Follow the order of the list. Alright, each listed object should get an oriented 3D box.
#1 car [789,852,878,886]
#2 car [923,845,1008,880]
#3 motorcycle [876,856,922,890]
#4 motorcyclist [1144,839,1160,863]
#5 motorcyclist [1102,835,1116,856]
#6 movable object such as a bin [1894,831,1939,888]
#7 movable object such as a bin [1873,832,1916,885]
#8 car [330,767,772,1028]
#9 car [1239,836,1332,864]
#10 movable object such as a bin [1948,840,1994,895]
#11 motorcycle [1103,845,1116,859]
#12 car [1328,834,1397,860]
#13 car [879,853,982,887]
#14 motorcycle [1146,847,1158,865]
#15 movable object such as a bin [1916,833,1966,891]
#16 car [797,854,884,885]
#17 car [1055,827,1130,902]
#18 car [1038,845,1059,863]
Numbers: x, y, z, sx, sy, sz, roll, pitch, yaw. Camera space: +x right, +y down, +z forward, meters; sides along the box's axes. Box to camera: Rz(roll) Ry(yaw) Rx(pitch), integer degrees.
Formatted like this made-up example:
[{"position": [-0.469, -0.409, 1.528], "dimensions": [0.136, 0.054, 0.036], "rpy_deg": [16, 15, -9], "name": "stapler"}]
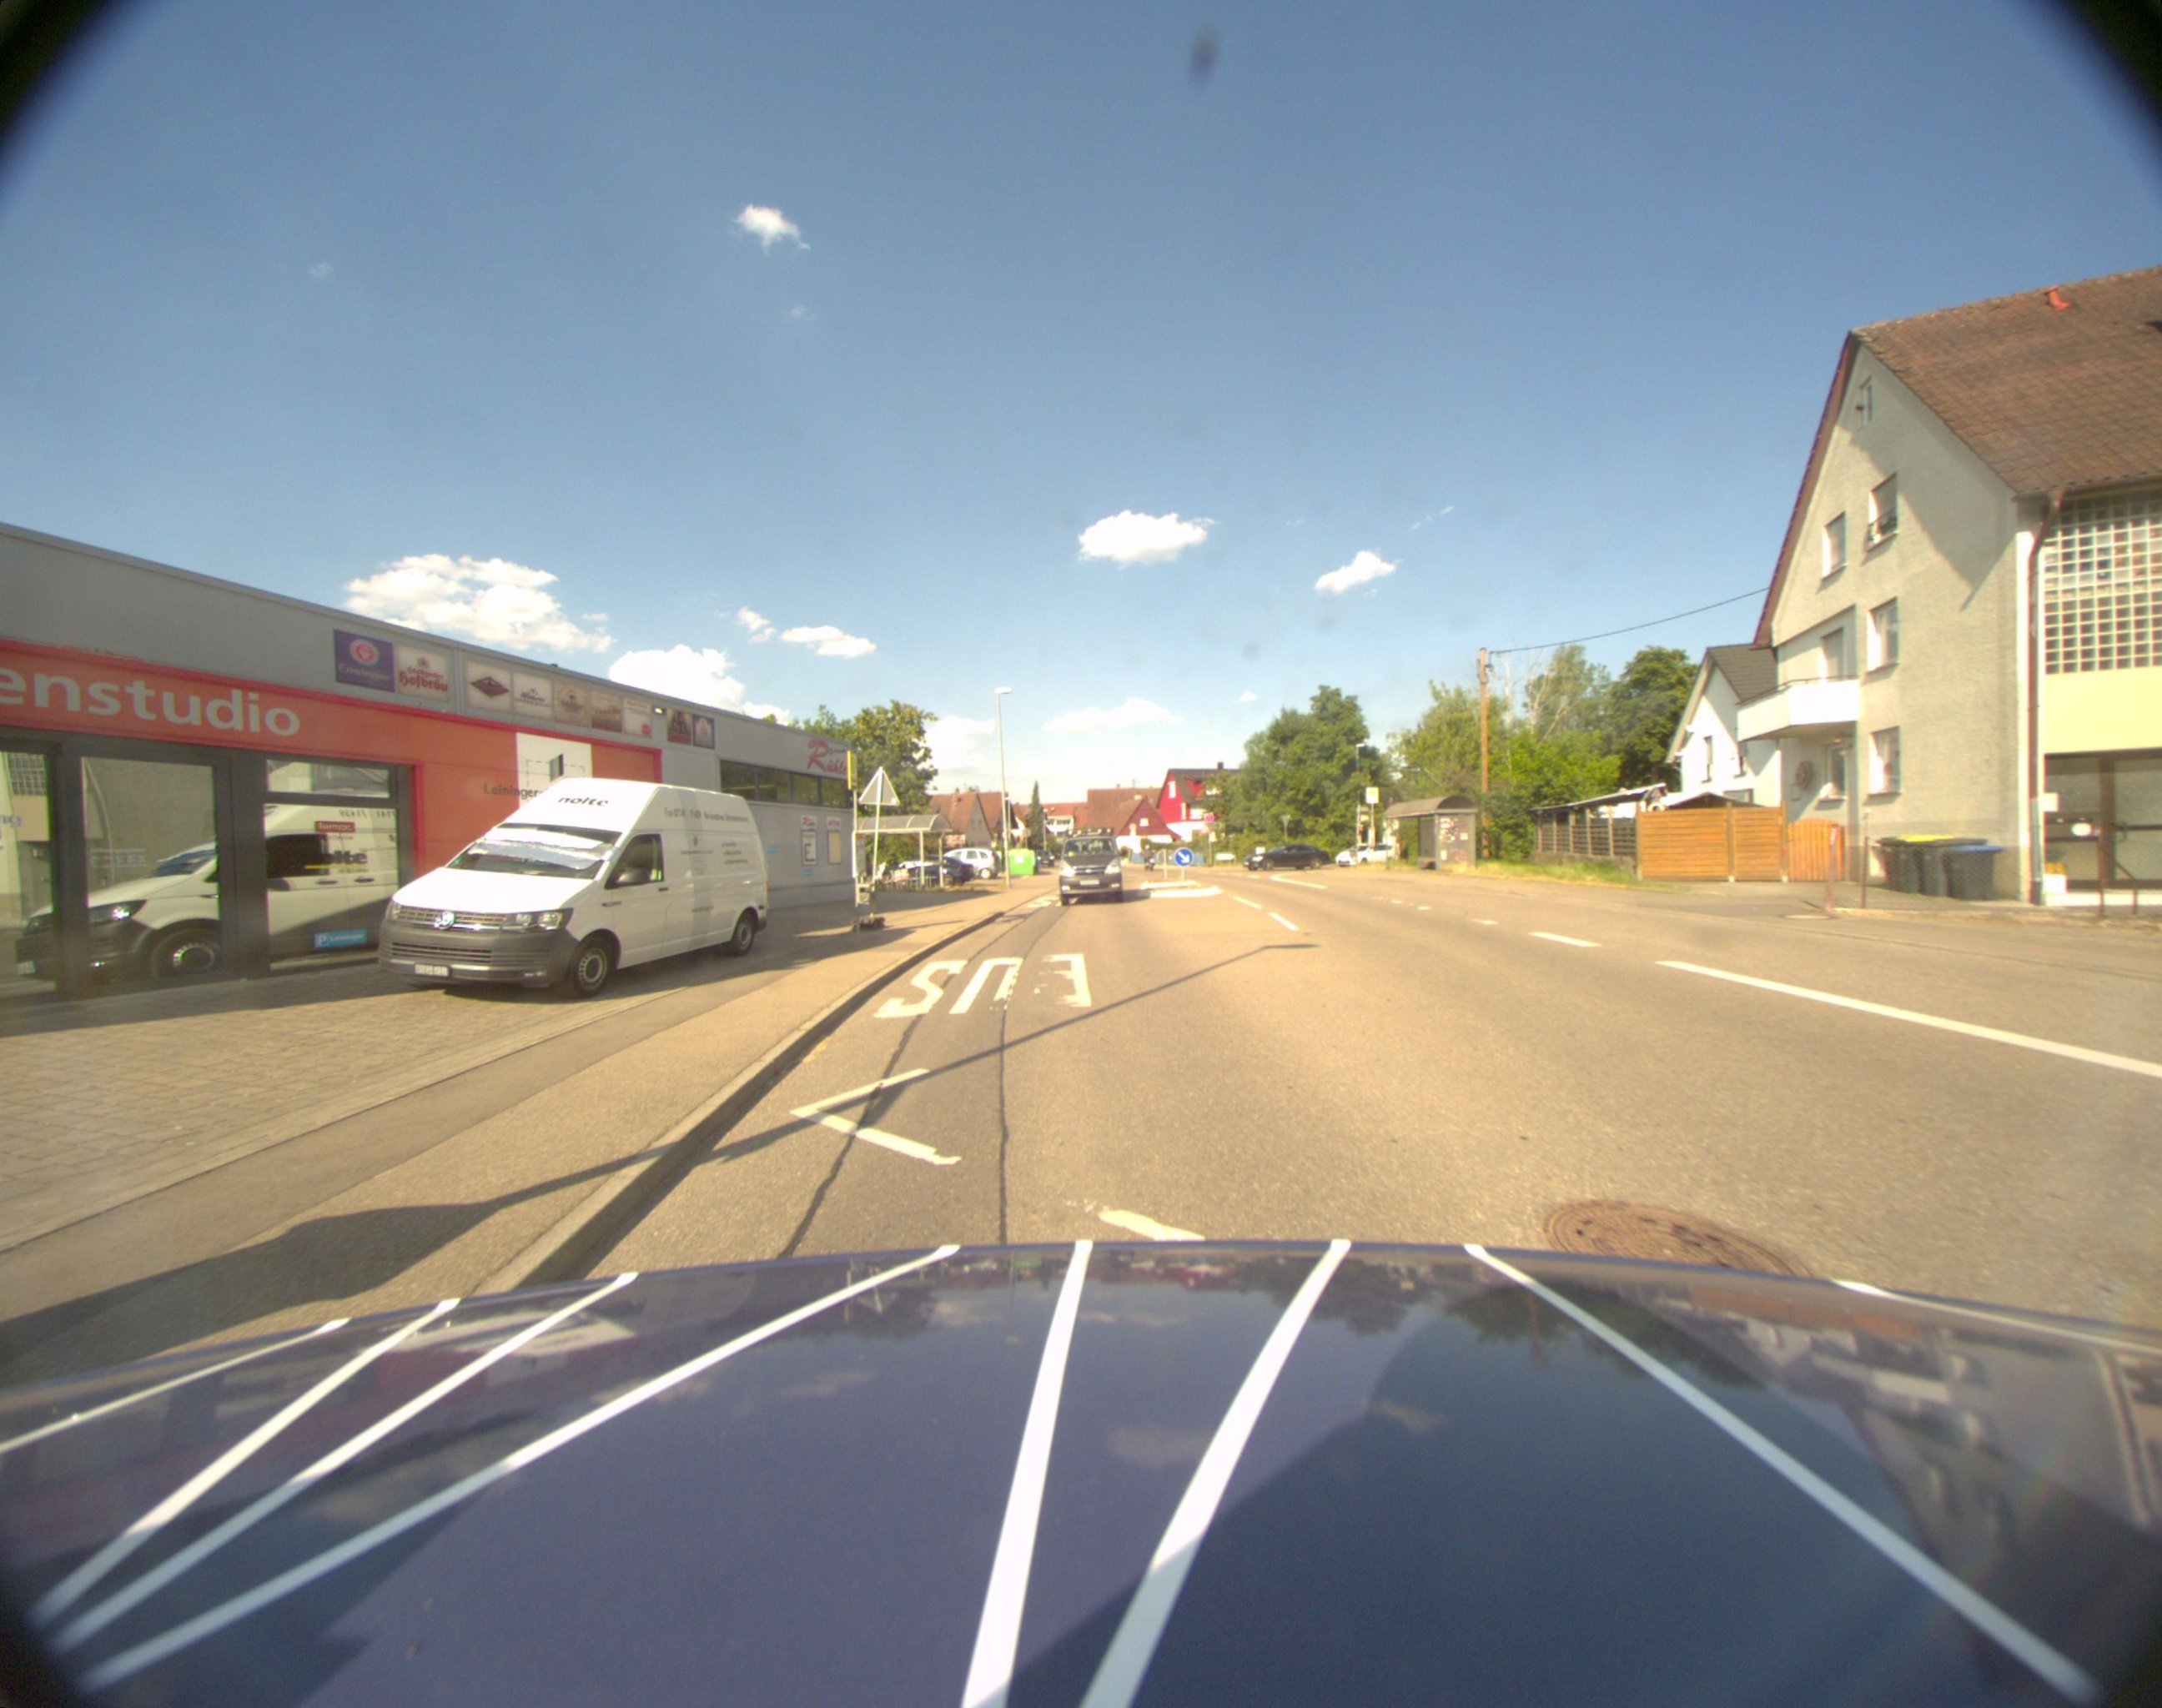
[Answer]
[{"position": [-11.022, 0.658, 33.950], "dimensions": [3.443, 1.409, 1.499], "rpy_deg": [0, 2, 10], "name": "car"}, {"position": [-5.896, 0.419, 39.020], "dimensions": [3.947, 1.594, 1.682], "rpy_deg": [-1, 2, 5], "name": "car"}, {"position": [-7.432, 0.770, 31.103], "dimensions": [1.832, 1.316, 0.640], "rpy_deg": [0, 1, -12], "name": "motorcycle"}, {"position": [4.418, -0.196, 47.447], "dimensions": [0.804, 1.428, 1.036], "rpy_deg": [-3, 1, 0], "name": "motorcyclist"}, {"position": [2.207, -0.671, 59.651], "dimensions": [0.738, 1.518, 1.015], "rpy_deg": [-5, 2, -10], "name": "motorcyclist"}, {"position": [15.674, 0.104, 14.263], "dimensions": [0.361, 1.035, 0.558], "rpy_deg": [-1, 3, 22], "name": "movable object such as a bin"}, {"position": [15.929, 0.086, 14.891], "dimensions": [0.361, 1.010, 0.558], "rpy_deg": [-1, 3, 22], "name": "movable object such as a bin"}, {"position": [-5.926, 0.365, 9.562], "dimensions": [1.841, 2.361, 5.178], "rpy_deg": [1, 1, 1], "name": "car"}, {"position": [11.493, -0.261, 42.733], "dimensions": [4.848, 1.423, 1.768], "rpy_deg": [-2, 2, -17], "name": "car"}, {"position": [15.383, 0.226, 13.135], "dimensions": [0.361, 0.920, 0.400], "rpy_deg": [-1, 3, 22], "name": "movable object such as a bin"}, {"position": [2.251, -0.162, 59.637], "dimensions": [0.540, 1.007, 2.026], "rpy_deg": [-4, 1, -10], "name": "motorcycle"}, {"position": [17.936, -0.460, 48.317], "dimensions": [4.282, 1.483, 1.857], "rpy_deg": [-2, 2, -31], "name": "car"}, {"position": [-6.543, 0.696, 33.127], "dimensions": [4.072, 1.409, 1.626], "rpy_deg": [0, 2, 7], "name": "car"}, {"position": [4.428, 0.122, 47.425], "dimensions": [0.526, 1.007, 2.027], "rpy_deg": [-4, 1, 0], "name": "motorcycle"}, {"position": [15.511, 0.133, 13.715], "dimensions": [0.361, 1.017, 0.577], "rpy_deg": [-1, 3, 22], "name": "movable object such as a bin"}, {"position": [-12.610, 0.805, 39.883], "dimensions": [3.947, 1.441, 1.682], "rpy_deg": [-1, 2, 5], "name": "car"}, {"position": [0.480, 0.269, 23.449], "dimensions": [1.819, 1.988, 4.822], "rpy_deg": [-3, 1, 6], "name": "car"}, {"position": [-3.236, -0.040, 74.494], "dimensions": [1.973, 1.647, 3.998], "rpy_deg": [0, 1, -4], "name": "car"}]
